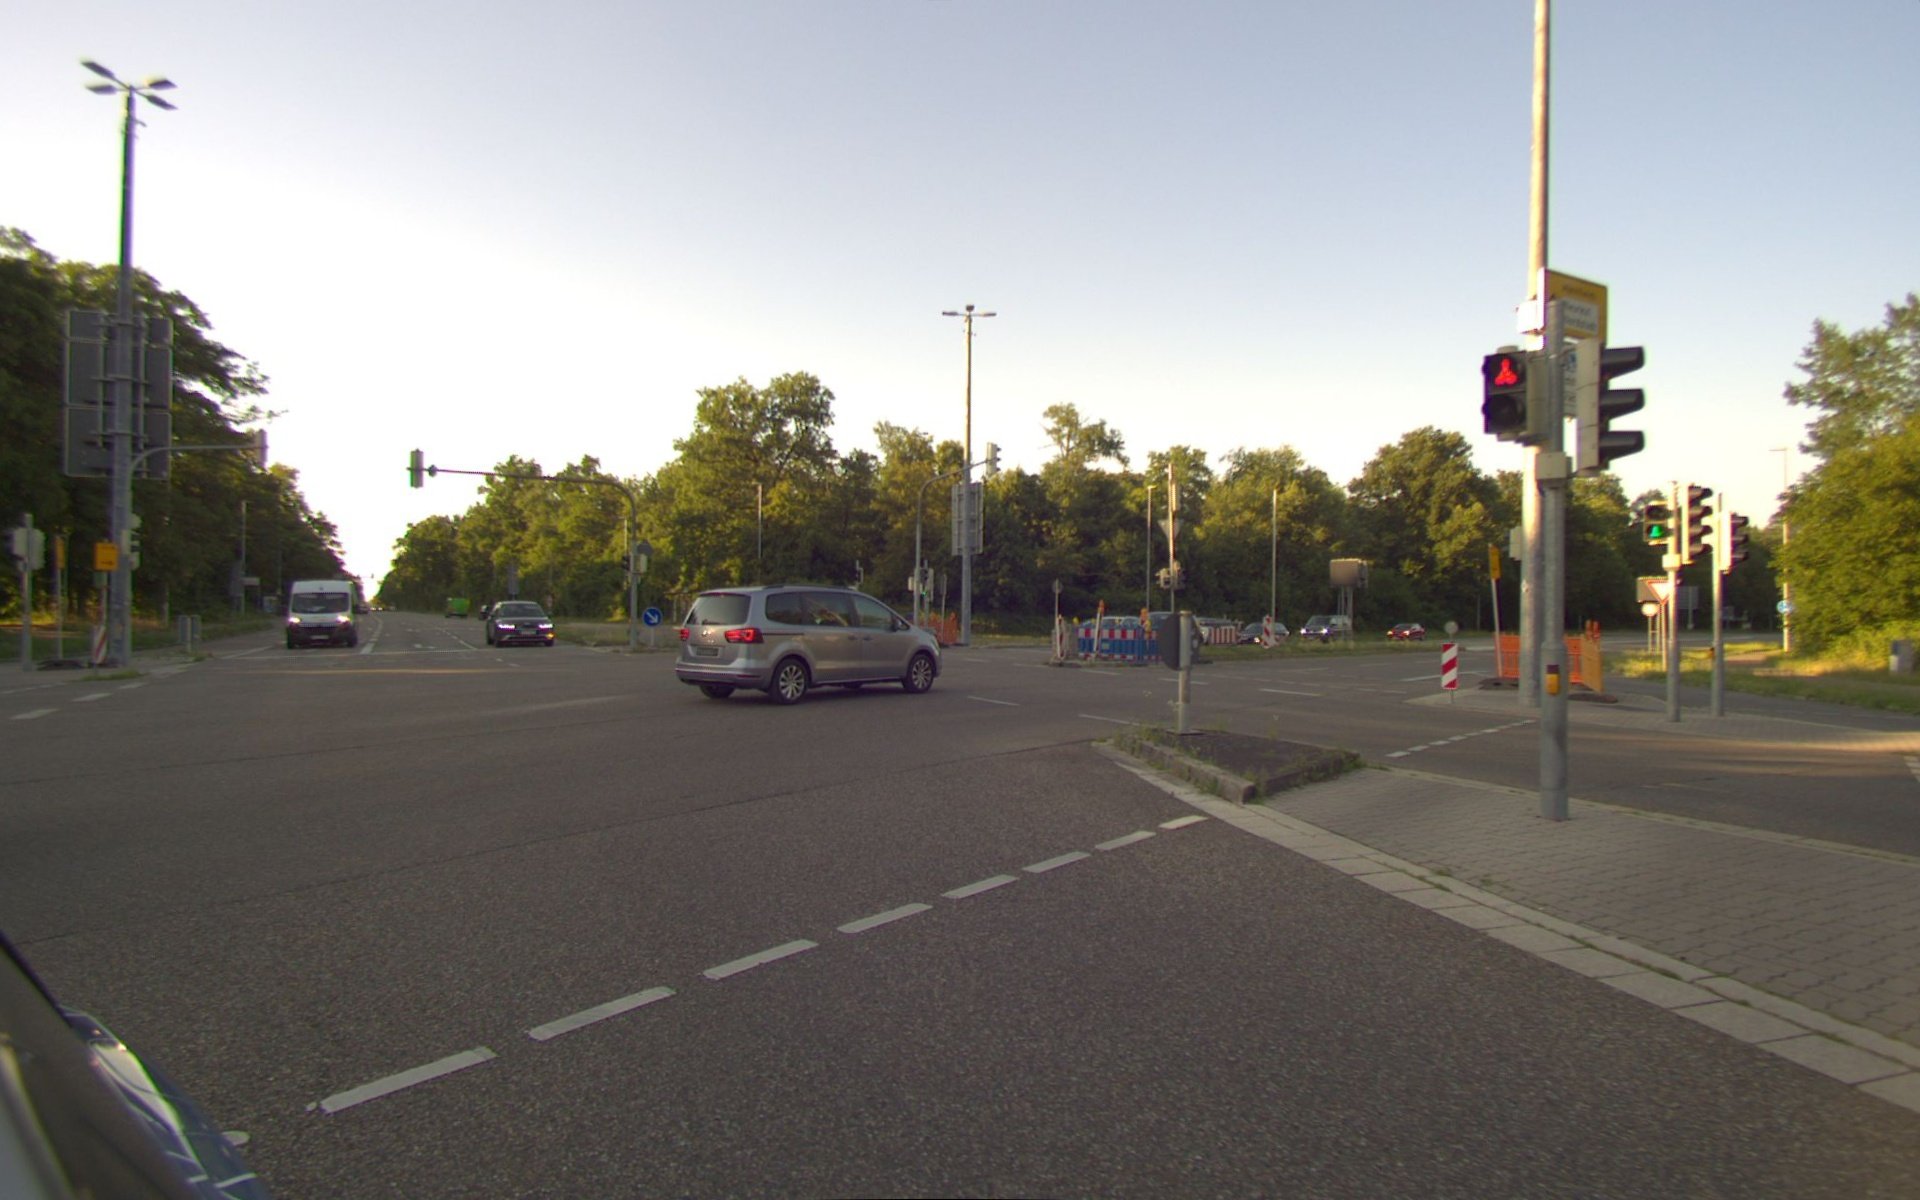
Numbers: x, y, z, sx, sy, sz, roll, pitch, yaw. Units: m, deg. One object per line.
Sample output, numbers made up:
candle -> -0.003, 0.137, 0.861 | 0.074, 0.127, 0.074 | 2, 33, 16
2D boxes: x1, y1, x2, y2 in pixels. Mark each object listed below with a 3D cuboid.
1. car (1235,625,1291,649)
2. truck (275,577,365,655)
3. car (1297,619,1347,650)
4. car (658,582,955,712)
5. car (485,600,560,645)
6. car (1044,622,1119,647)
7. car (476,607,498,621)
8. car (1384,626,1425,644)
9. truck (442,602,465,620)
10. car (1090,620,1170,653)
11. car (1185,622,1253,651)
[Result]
car -> 19.268, 2.320, 64.327 | 1.722, 1.467, 4.339 | -1, -1, 43
truck -> -23.721, 0.587, 37.614 | 2.561, 2.576, 6.040 | -2, 0, -32
car -> 25.075, 2.336, 70.115 | 1.883, 2.040, 4.175 | -1, -1, 41
car -> -2.224, 0.647, 15.887 | 1.870, 1.737, 4.600 | 0, -1, 38
car -> -15.831, 0.769, 36.485 | 1.969, 1.531, 4.012 | 1, -1, -31
car -> 6.377, 1.800, 53.083 | 3.584, 1.253, 1.612 | 1, -1, -25
car -> -49.627, 1.504, 106.113 | 1.636, 1.337, 4.059 | 1, 0, -32
car -> 36.276, 2.826, 82.543 | 1.884, 1.432, 4.174 | -1, -1, 42
truck -> -61.092, 1.359, 122.057 | 1.966, 2.137, 4.011 | 1, -1, -32
car -> 8.010, 1.657, 47.391 | 1.722, 1.467, 4.173 | -1, -1, 43
car -> 13.581, 1.874, 52.993 | 1.722, 1.467, 4.173 | -1, -1, 42
